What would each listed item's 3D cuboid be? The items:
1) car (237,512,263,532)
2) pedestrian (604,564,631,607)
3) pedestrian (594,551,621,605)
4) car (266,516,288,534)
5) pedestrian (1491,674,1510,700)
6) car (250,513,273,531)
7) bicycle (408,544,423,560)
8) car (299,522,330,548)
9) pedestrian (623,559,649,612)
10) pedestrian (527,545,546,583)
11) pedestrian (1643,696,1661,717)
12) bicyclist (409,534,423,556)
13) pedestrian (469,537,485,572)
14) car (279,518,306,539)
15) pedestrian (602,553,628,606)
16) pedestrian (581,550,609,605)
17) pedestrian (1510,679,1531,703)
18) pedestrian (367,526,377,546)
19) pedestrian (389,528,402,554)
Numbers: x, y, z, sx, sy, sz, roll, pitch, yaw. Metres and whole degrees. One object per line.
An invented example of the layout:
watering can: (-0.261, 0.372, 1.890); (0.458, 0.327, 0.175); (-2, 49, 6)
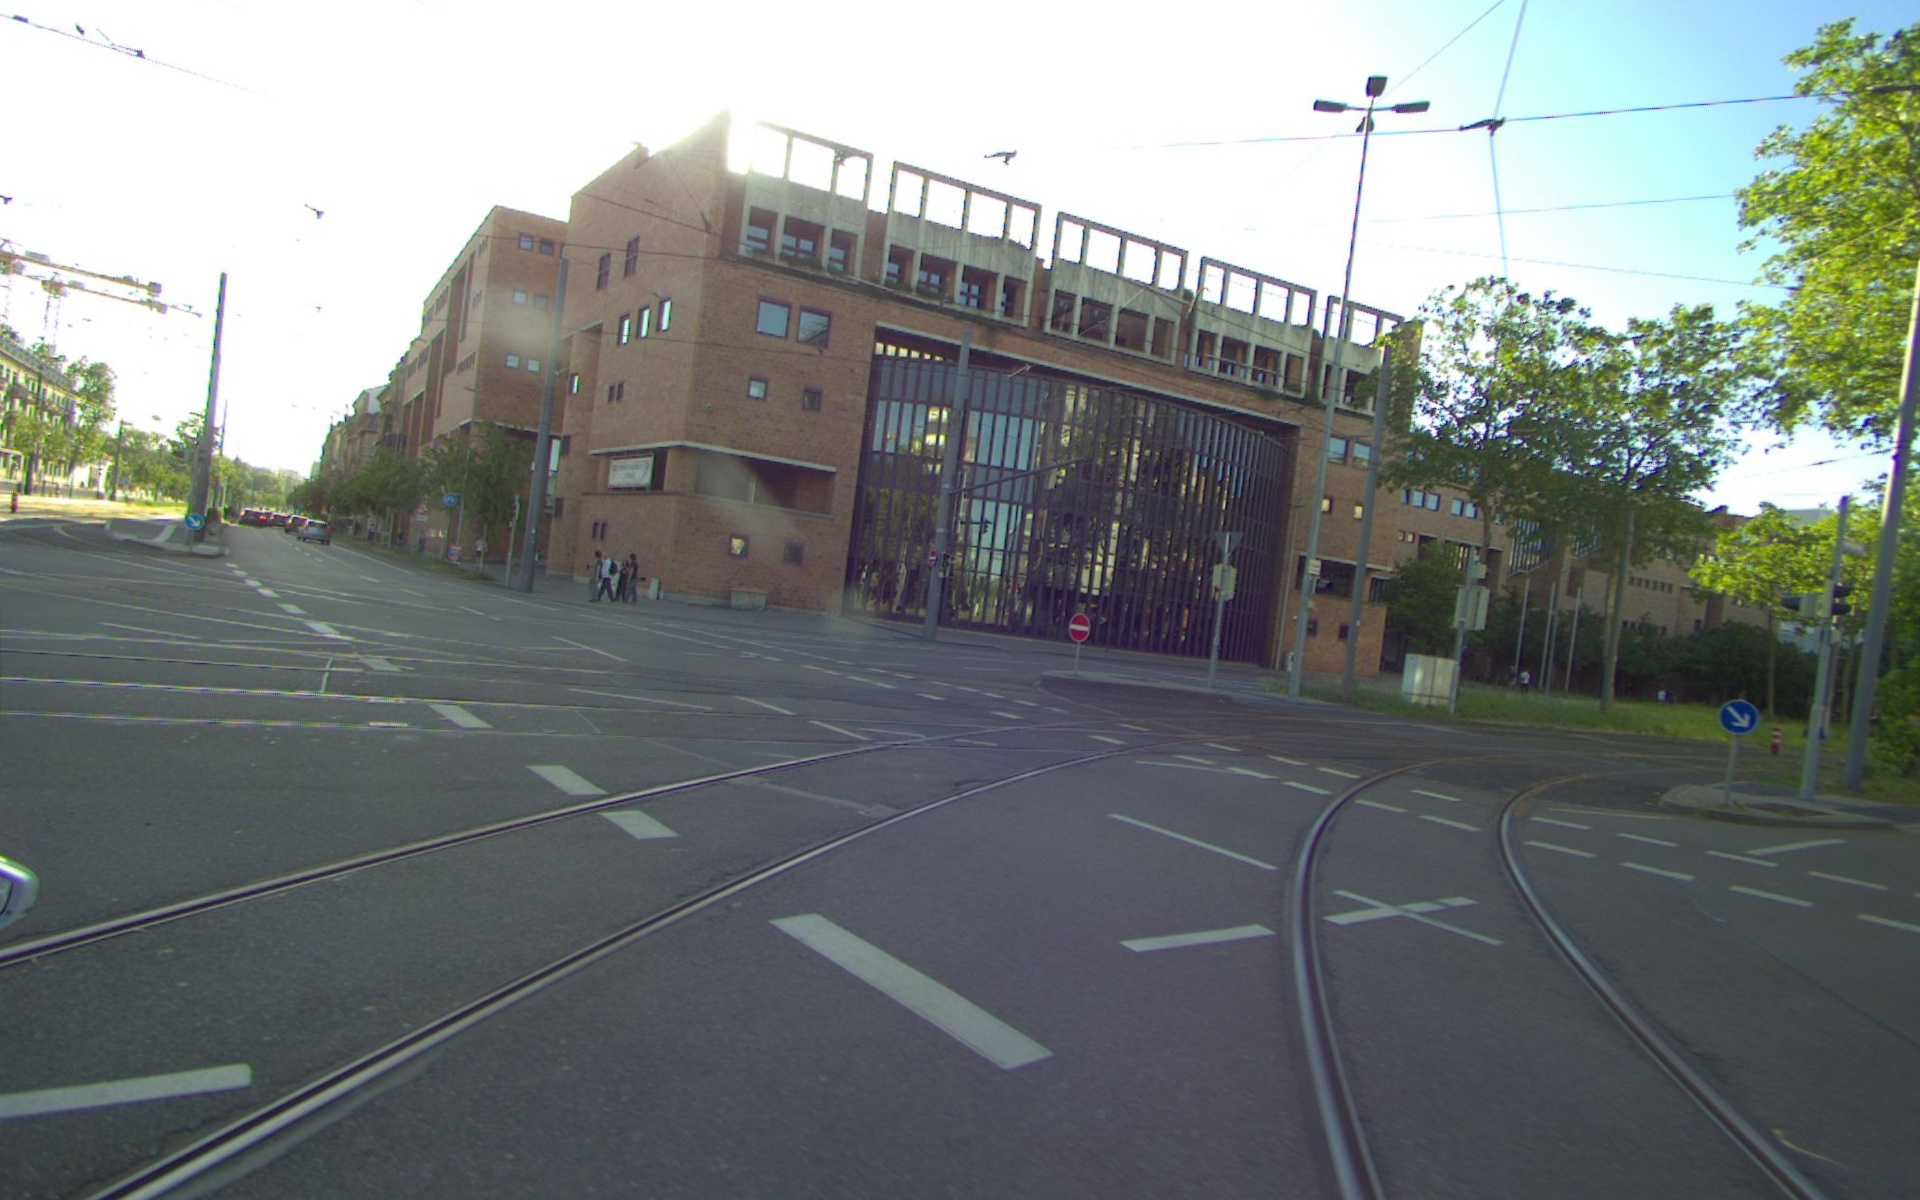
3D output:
car: (-62.484, -6.840, 88.566); (1.710, 1.471, 3.663); (8, 0, -34)
pedestrian: (-12.515, -0.530, 36.771); (0.565, 1.495, 0.547); (8, 1, 37)
pedestrian: (-12.264, -0.778, 34.993); (0.569, 1.809, 0.542); (5, 1, -43)
car: (-69.109, -7.572, 101.769); (1.710, 1.471, 3.664); (6, 0, -34)
pedestrian: (35.253, 5.677, 65.614); (0.801, 1.626, 0.683); (7, 1, 43)
car: (-66.773, -7.433, 96.211); (1.710, 1.471, 3.664); (6, 0, -34)
bicycle: (-36.350, -3.206, 67.125); (0.644, 0.915, 2.325); (7, -1, -33)
car: (-43.498, -4.398, 67.747); (1.550, 1.474, 3.400); (7, -1, -34)
pedestrian: (-11.594, -0.525, 35.992); (0.569, 1.809, 0.542); (5, 1, -43)
pedestrian: (-21.370, -1.828, 50.767); (0.635, 1.809, 0.682); (5, 1, -32)
pedestrian: (51.477, 7.915, 74.820); (0.680, 1.401, 0.805); (6, 1, -32)
bicyclist: (-36.319, -3.666, 67.154); (0.641, 1.356, 0.647); (6, 0, -34)
pedestrian: (-26.179, -2.461, 54.529); (0.543, 1.809, 0.568); (6, 3, -32)
car: (-55.948, -6.011, 84.308); (1.661, 1.471, 3.663); (8, 0, -34)
pedestrian: (-12.251, -0.745, 35.739); (0.569, 1.809, 0.542); (5, 1, -43)
pedestrian: (-12.434, -0.755, 34.246); (0.569, 1.809, 0.542); (5, 1, -43)
pedestrian: (35.774, 5.825, 64.202); (0.680, 1.401, 0.805); (6, 1, -32)
pedestrian: (-55.038, -5.951, 94.107); (0.635, 1.809, 0.682); (5, 1, -32)
pedestrian: (-40.717, -4.283, 72.592); (0.636, 1.809, 0.682); (5, 1, -34)
